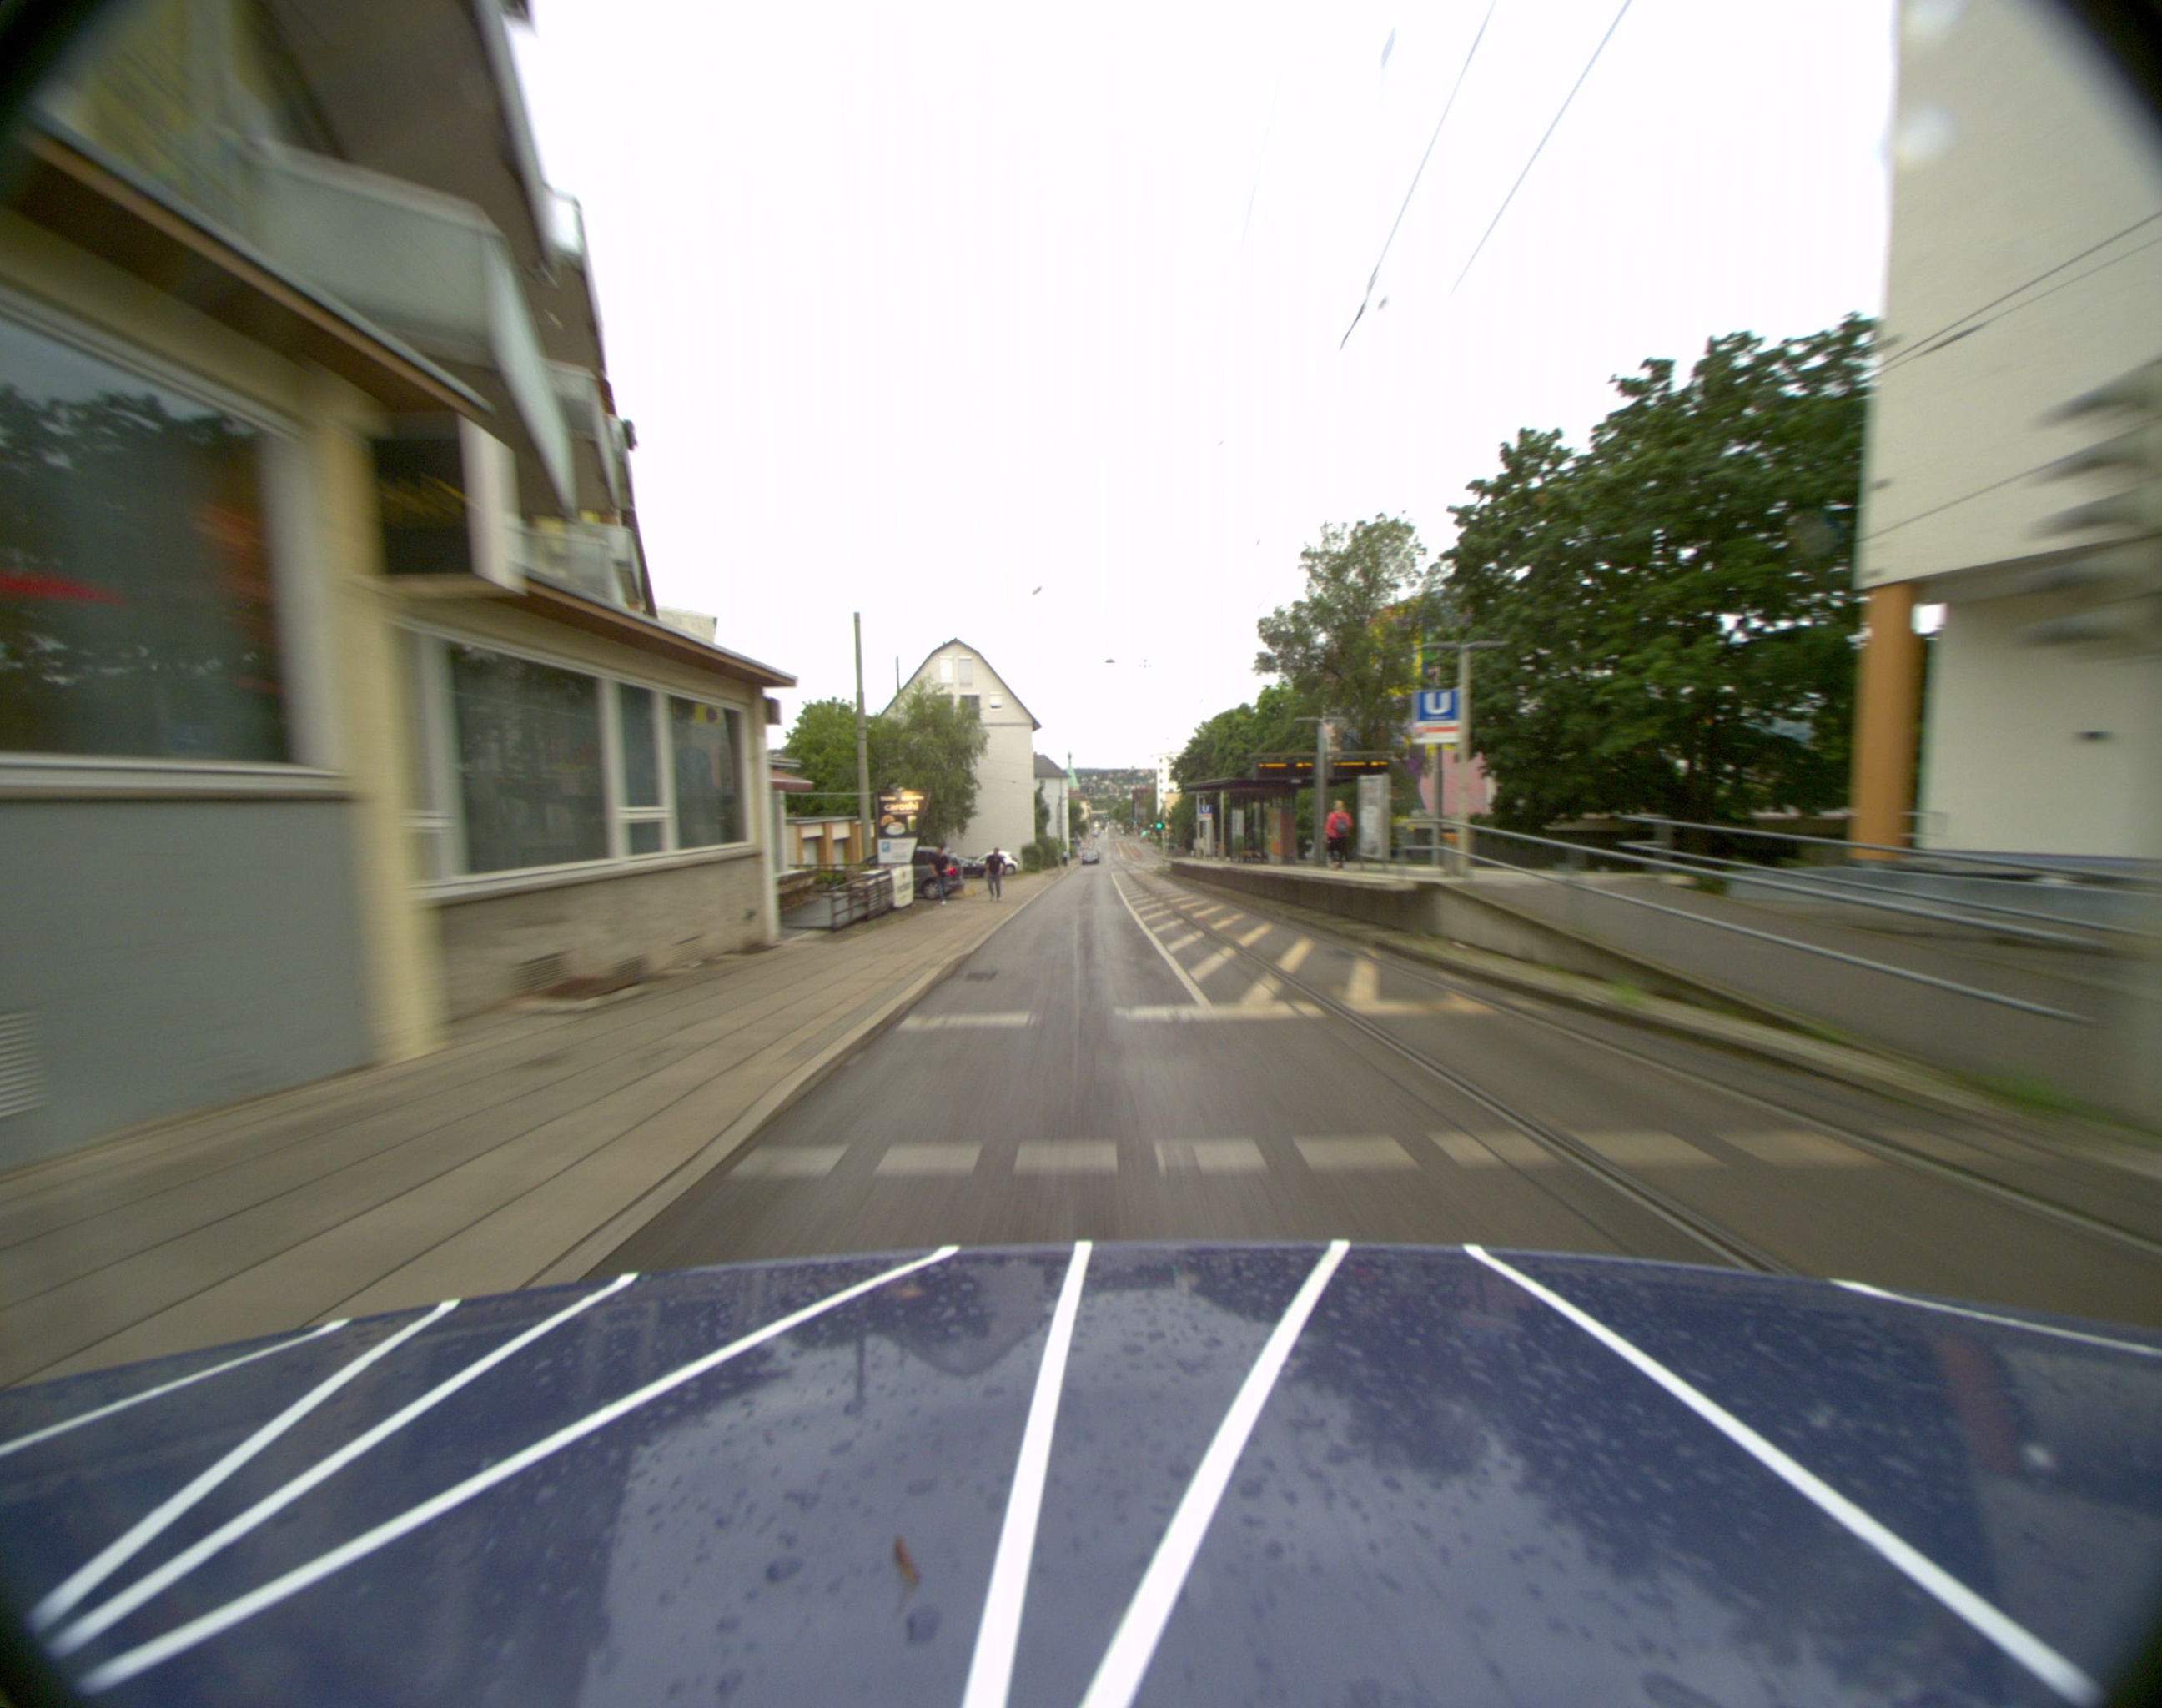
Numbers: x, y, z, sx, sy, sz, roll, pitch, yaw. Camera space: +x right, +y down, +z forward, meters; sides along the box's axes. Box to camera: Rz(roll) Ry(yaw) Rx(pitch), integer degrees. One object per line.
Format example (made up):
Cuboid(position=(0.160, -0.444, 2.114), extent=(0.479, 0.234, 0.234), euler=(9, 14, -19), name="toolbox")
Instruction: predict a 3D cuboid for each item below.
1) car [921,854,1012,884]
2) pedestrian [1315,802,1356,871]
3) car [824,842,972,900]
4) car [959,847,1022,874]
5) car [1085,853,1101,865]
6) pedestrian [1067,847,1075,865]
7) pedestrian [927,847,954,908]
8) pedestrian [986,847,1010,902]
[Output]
Cuboid(position=(-6.616, 0.879, 44.287), extent=(4.943, 1.429, 1.974), euler=(-3, 2, 2), name="car")
Cuboid(position=(5.818, -0.400, 17.412), extent=(0.672, 1.539, 0.771), euler=(-1, 0, 0), name="pedestrian")
Cuboid(position=(-5.902, 0.546, 24.838), extent=(4.338, 1.664, 1.781), euler=(2, 0, 3), name="car")
Cuboid(position=(-5.930, 0.416, 50.175), extent=(3.998, 1.460, 1.814), euler=(-1, 7, -4), name="car")
Cuboid(position=(1.412, 0.548, 90.600), extent=(1.725, 1.350, 4.000), euler=(-2, 0, 3), name="car")
Cuboid(position=(-0.963, 0.177, 71.185), extent=(0.657, 1.611, 0.630), euler=(0, 1, 7), name="pedestrian")
Cuboid(position=(-4.023, 0.659, 21.798), extent=(0.580, 1.704, 0.614), euler=(-3, 1, -3), name="pedestrian")
Cuboid(position=(-2.652, 0.640, 24.205), extent=(0.721, 1.704, 0.608), euler=(1, 1, -5), name="pedestrian")
